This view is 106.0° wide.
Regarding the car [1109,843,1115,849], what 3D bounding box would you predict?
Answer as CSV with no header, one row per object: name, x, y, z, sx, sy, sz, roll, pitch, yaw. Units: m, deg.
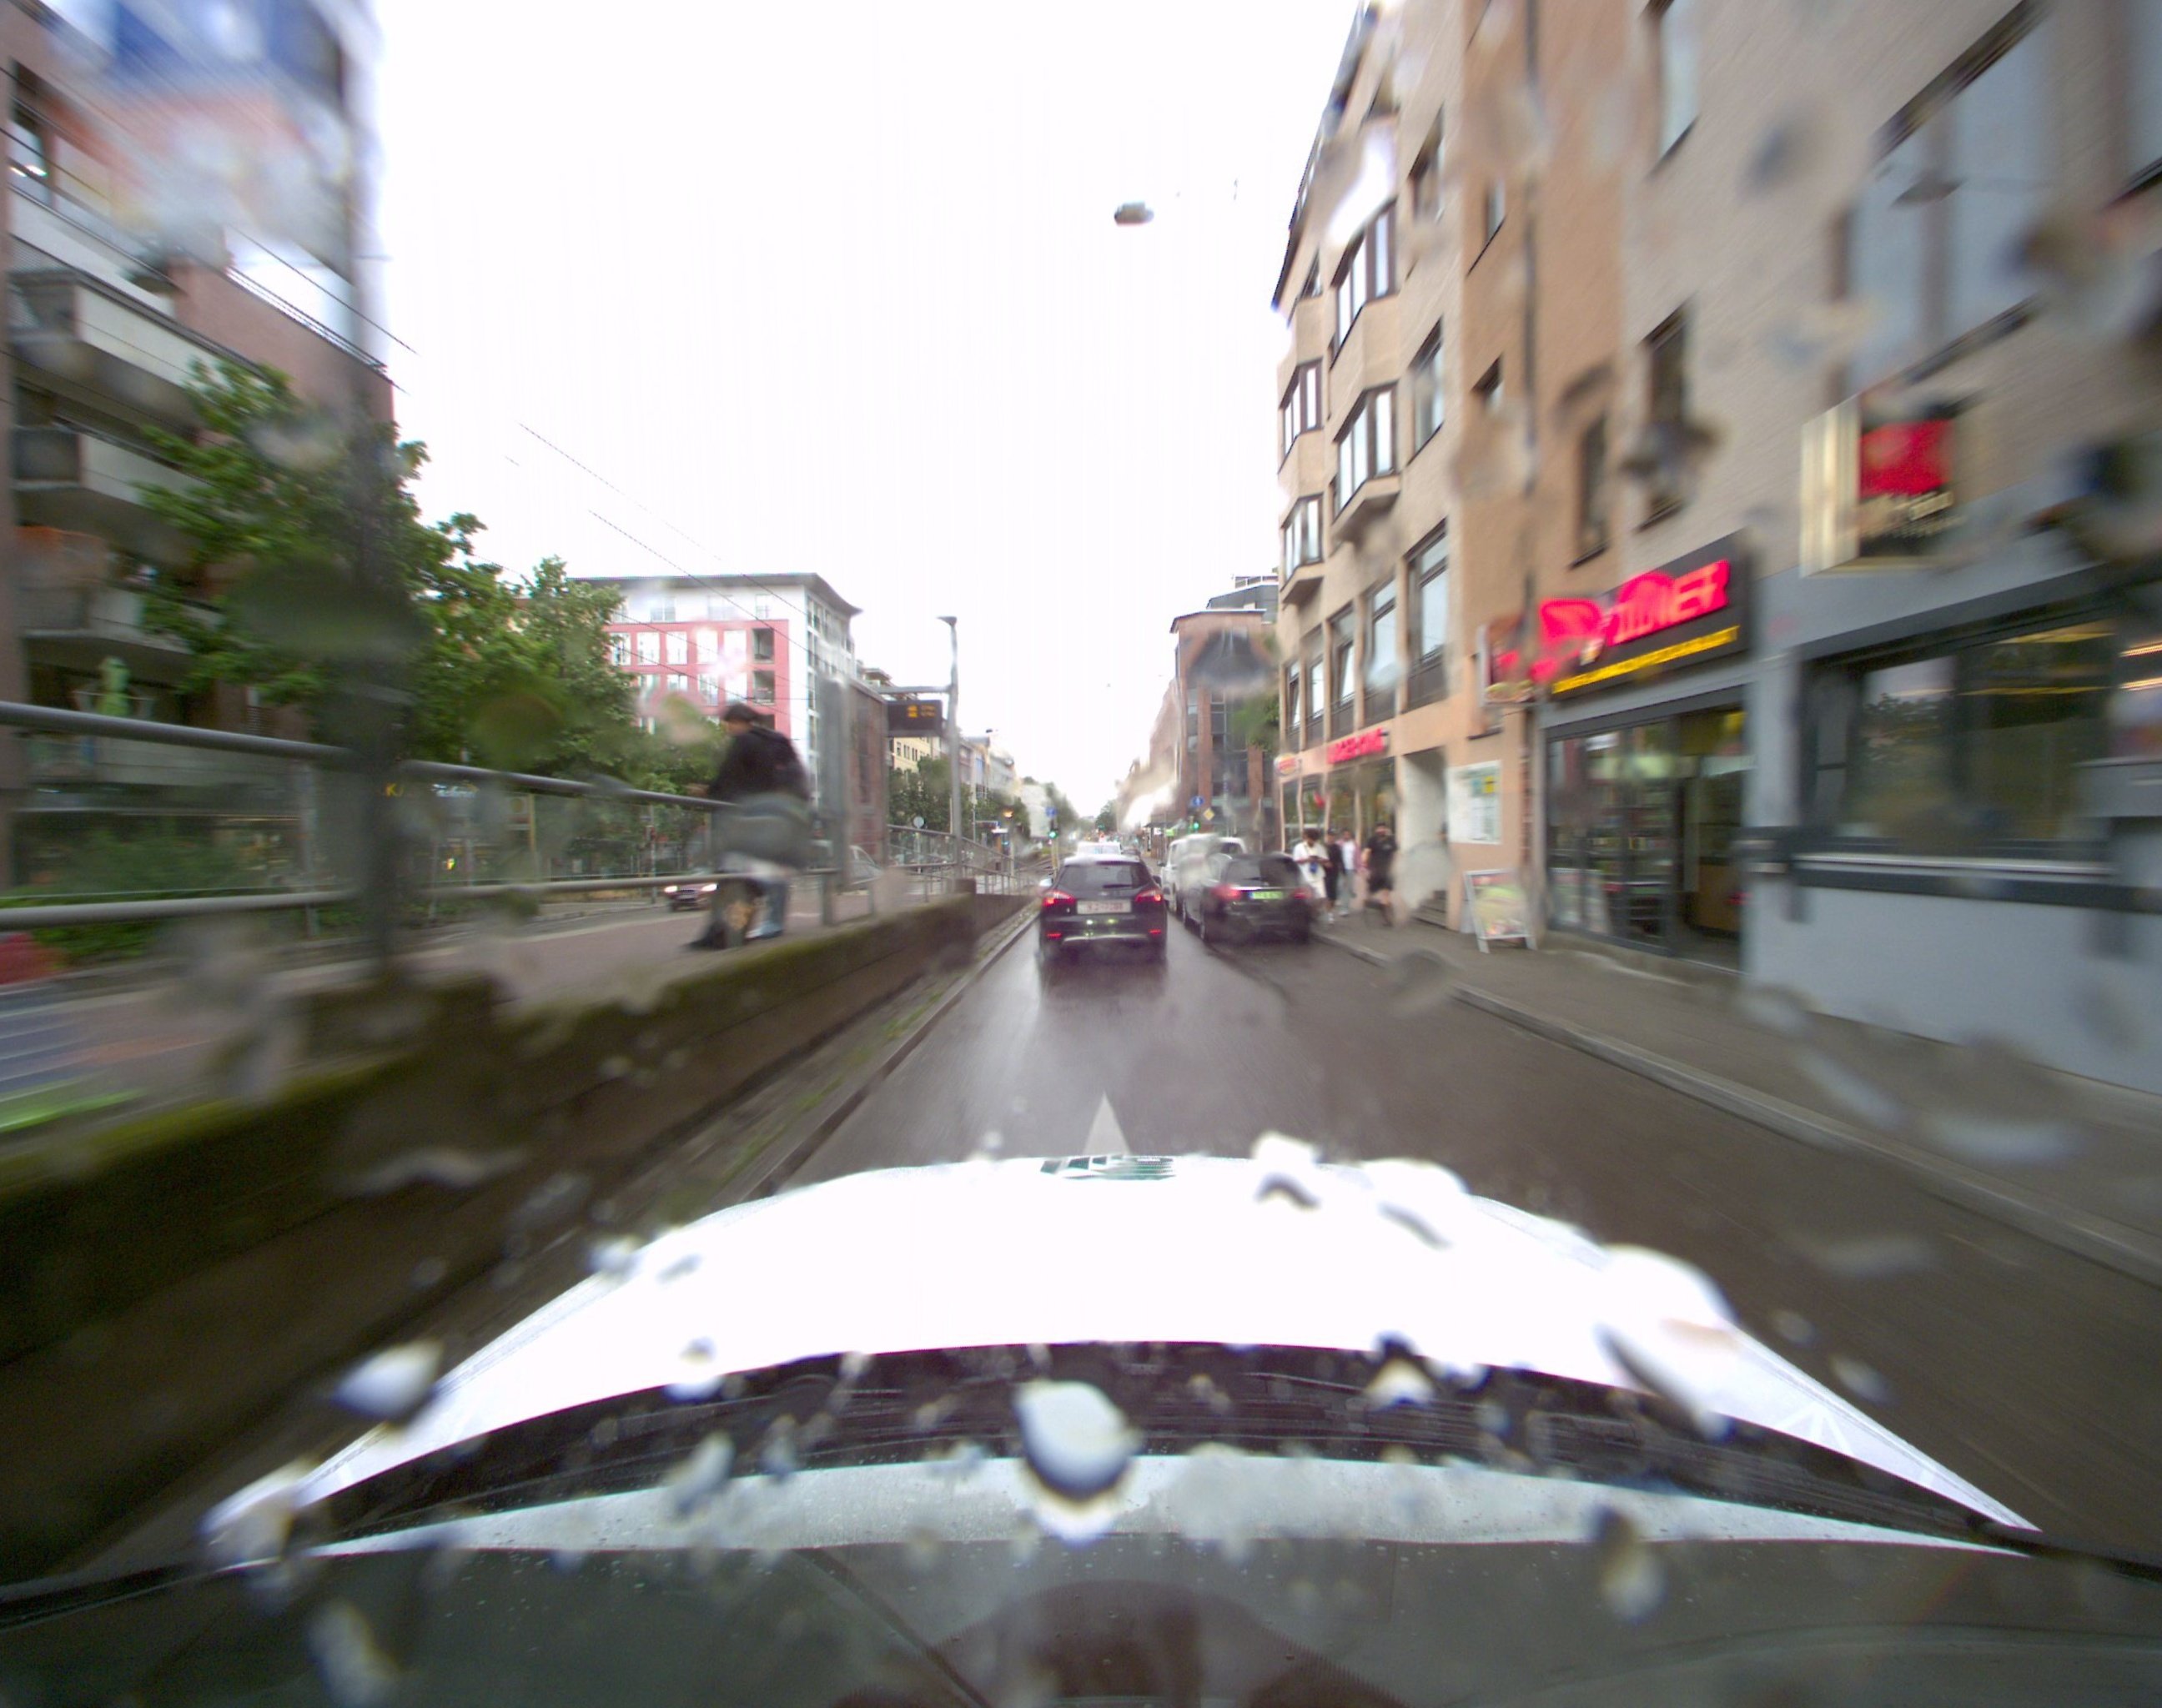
car,9.182,-2.389,240.443,1.899,1.633,4.577,-1,0,3

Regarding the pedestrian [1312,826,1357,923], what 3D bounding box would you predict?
pedestrian,4.626,0.372,14.897,0.608,1.714,0.581,-2,0,2

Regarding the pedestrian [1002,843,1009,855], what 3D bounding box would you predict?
pedestrian,-7.949,-0.508,85.741,0.690,1.249,0.884,-2,0,-1

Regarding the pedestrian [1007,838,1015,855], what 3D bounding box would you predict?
pedestrian,-7.112,-0.740,82.958,0.653,1.711,0.850,-2,0,-1

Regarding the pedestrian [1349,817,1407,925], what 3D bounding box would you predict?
pedestrian,5.191,0.288,14.254,0.753,1.819,0.588,-2,0,2

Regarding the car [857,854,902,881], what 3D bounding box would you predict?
car,-13.870,0.907,56.408,1.719,1.611,4.556,-2,1,3

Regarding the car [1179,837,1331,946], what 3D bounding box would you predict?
car,2.920,0.571,14.632,1.899,1.615,4.416,-1,0,2

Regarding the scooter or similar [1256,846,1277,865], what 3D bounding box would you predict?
scooter or similar,12.767,0.096,56.003,1.368,1.227,0.326,-2,0,4

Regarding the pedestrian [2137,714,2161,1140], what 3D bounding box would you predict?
pedestrian,4.990,0.312,3.348,0.528,1.858,0.555,-2,0,-6

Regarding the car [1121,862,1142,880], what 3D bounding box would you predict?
car,4.561,1.547,74.156,1.692,1.462,3.869,-4,0,2

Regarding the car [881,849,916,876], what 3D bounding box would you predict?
car,-13.802,0.615,61.845,1.702,1.858,4.319,-2,0,-1

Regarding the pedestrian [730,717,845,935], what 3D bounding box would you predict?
pedestrian,-2.223,-0.203,6.232,0.581,1.557,0.701,-2,0,-1

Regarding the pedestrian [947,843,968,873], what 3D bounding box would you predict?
pedestrian,-8.440,0.269,55.692,1.112,2.013,1.384,-2,0,1

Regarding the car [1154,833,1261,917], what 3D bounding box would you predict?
car,3.021,0.472,20.484,1.900,1.806,4.776,-1,0,0

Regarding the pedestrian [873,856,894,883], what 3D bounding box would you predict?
pedestrian,-12.308,0.952,50.744,0.871,1.631,0.812,0,2,24

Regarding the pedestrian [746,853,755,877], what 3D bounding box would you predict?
pedestrian,-22.919,0.763,56.441,0.581,1.631,0.606,0,0,-25

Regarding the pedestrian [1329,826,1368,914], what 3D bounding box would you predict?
pedestrian,5.376,0.321,16.371,0.573,1.714,0.477,-2,0,2

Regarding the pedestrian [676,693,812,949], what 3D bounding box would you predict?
pedestrian,-2.258,-0.214,5.524,0.581,1.609,0.701,-2,0,-1

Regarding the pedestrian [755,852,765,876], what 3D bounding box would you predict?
pedestrian,-22.234,0.700,56.375,0.548,1.631,0.568,0,0,-35

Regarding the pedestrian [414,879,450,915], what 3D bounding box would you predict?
pedestrian,-21.785,1.437,27.346,0.672,1.178,0.609,-2,0,7

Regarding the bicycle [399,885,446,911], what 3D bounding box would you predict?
bicycle,-25.471,1.678,31.518,0.337,0.903,1.648,-2,0,4

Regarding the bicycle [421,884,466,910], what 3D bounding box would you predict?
bicycle,-24.626,1.658,31.497,0.337,0.910,1.648,-2,0,4

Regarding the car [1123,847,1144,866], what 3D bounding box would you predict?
car,4.459,0.182,69.490,1.691,1.479,3.870,-4,0,3

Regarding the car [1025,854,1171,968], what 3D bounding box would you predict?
car,0.287,0.756,12.498,1.899,1.462,3.446,-1,0,2

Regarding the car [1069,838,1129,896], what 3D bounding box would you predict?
car,0.676,0.415,29.078,1.899,1.864,4.576,-1,0,2

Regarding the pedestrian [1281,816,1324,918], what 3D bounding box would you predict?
pedestrian,4.352,0.248,16.040,0.649,1.948,0.534,-2,0,2

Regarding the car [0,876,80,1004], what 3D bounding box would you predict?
car,-14.701,1.133,9.055,1.632,1.624,4.373,-1,0,2

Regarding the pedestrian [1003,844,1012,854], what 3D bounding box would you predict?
pedestrian,-7.928,-0.555,87.982,0.892,1.123,0.847,-2,0,-9

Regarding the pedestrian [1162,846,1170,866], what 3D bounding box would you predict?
pedestrian,7.065,0.184,67.904,0.599,1.659,0.626,-2,0,2

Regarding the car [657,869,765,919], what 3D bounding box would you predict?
car,-12.655,1.312,28.188,1.687,1.462,4.528,-1,0,-1

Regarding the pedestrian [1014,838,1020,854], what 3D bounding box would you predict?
pedestrian,-7.623,-0.950,96.986,0.653,1.801,0.850,-2,0,-1

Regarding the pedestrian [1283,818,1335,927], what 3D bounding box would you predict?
pedestrian,4.014,0.318,14.371,0.692,1.855,0.653,-2,0,2
